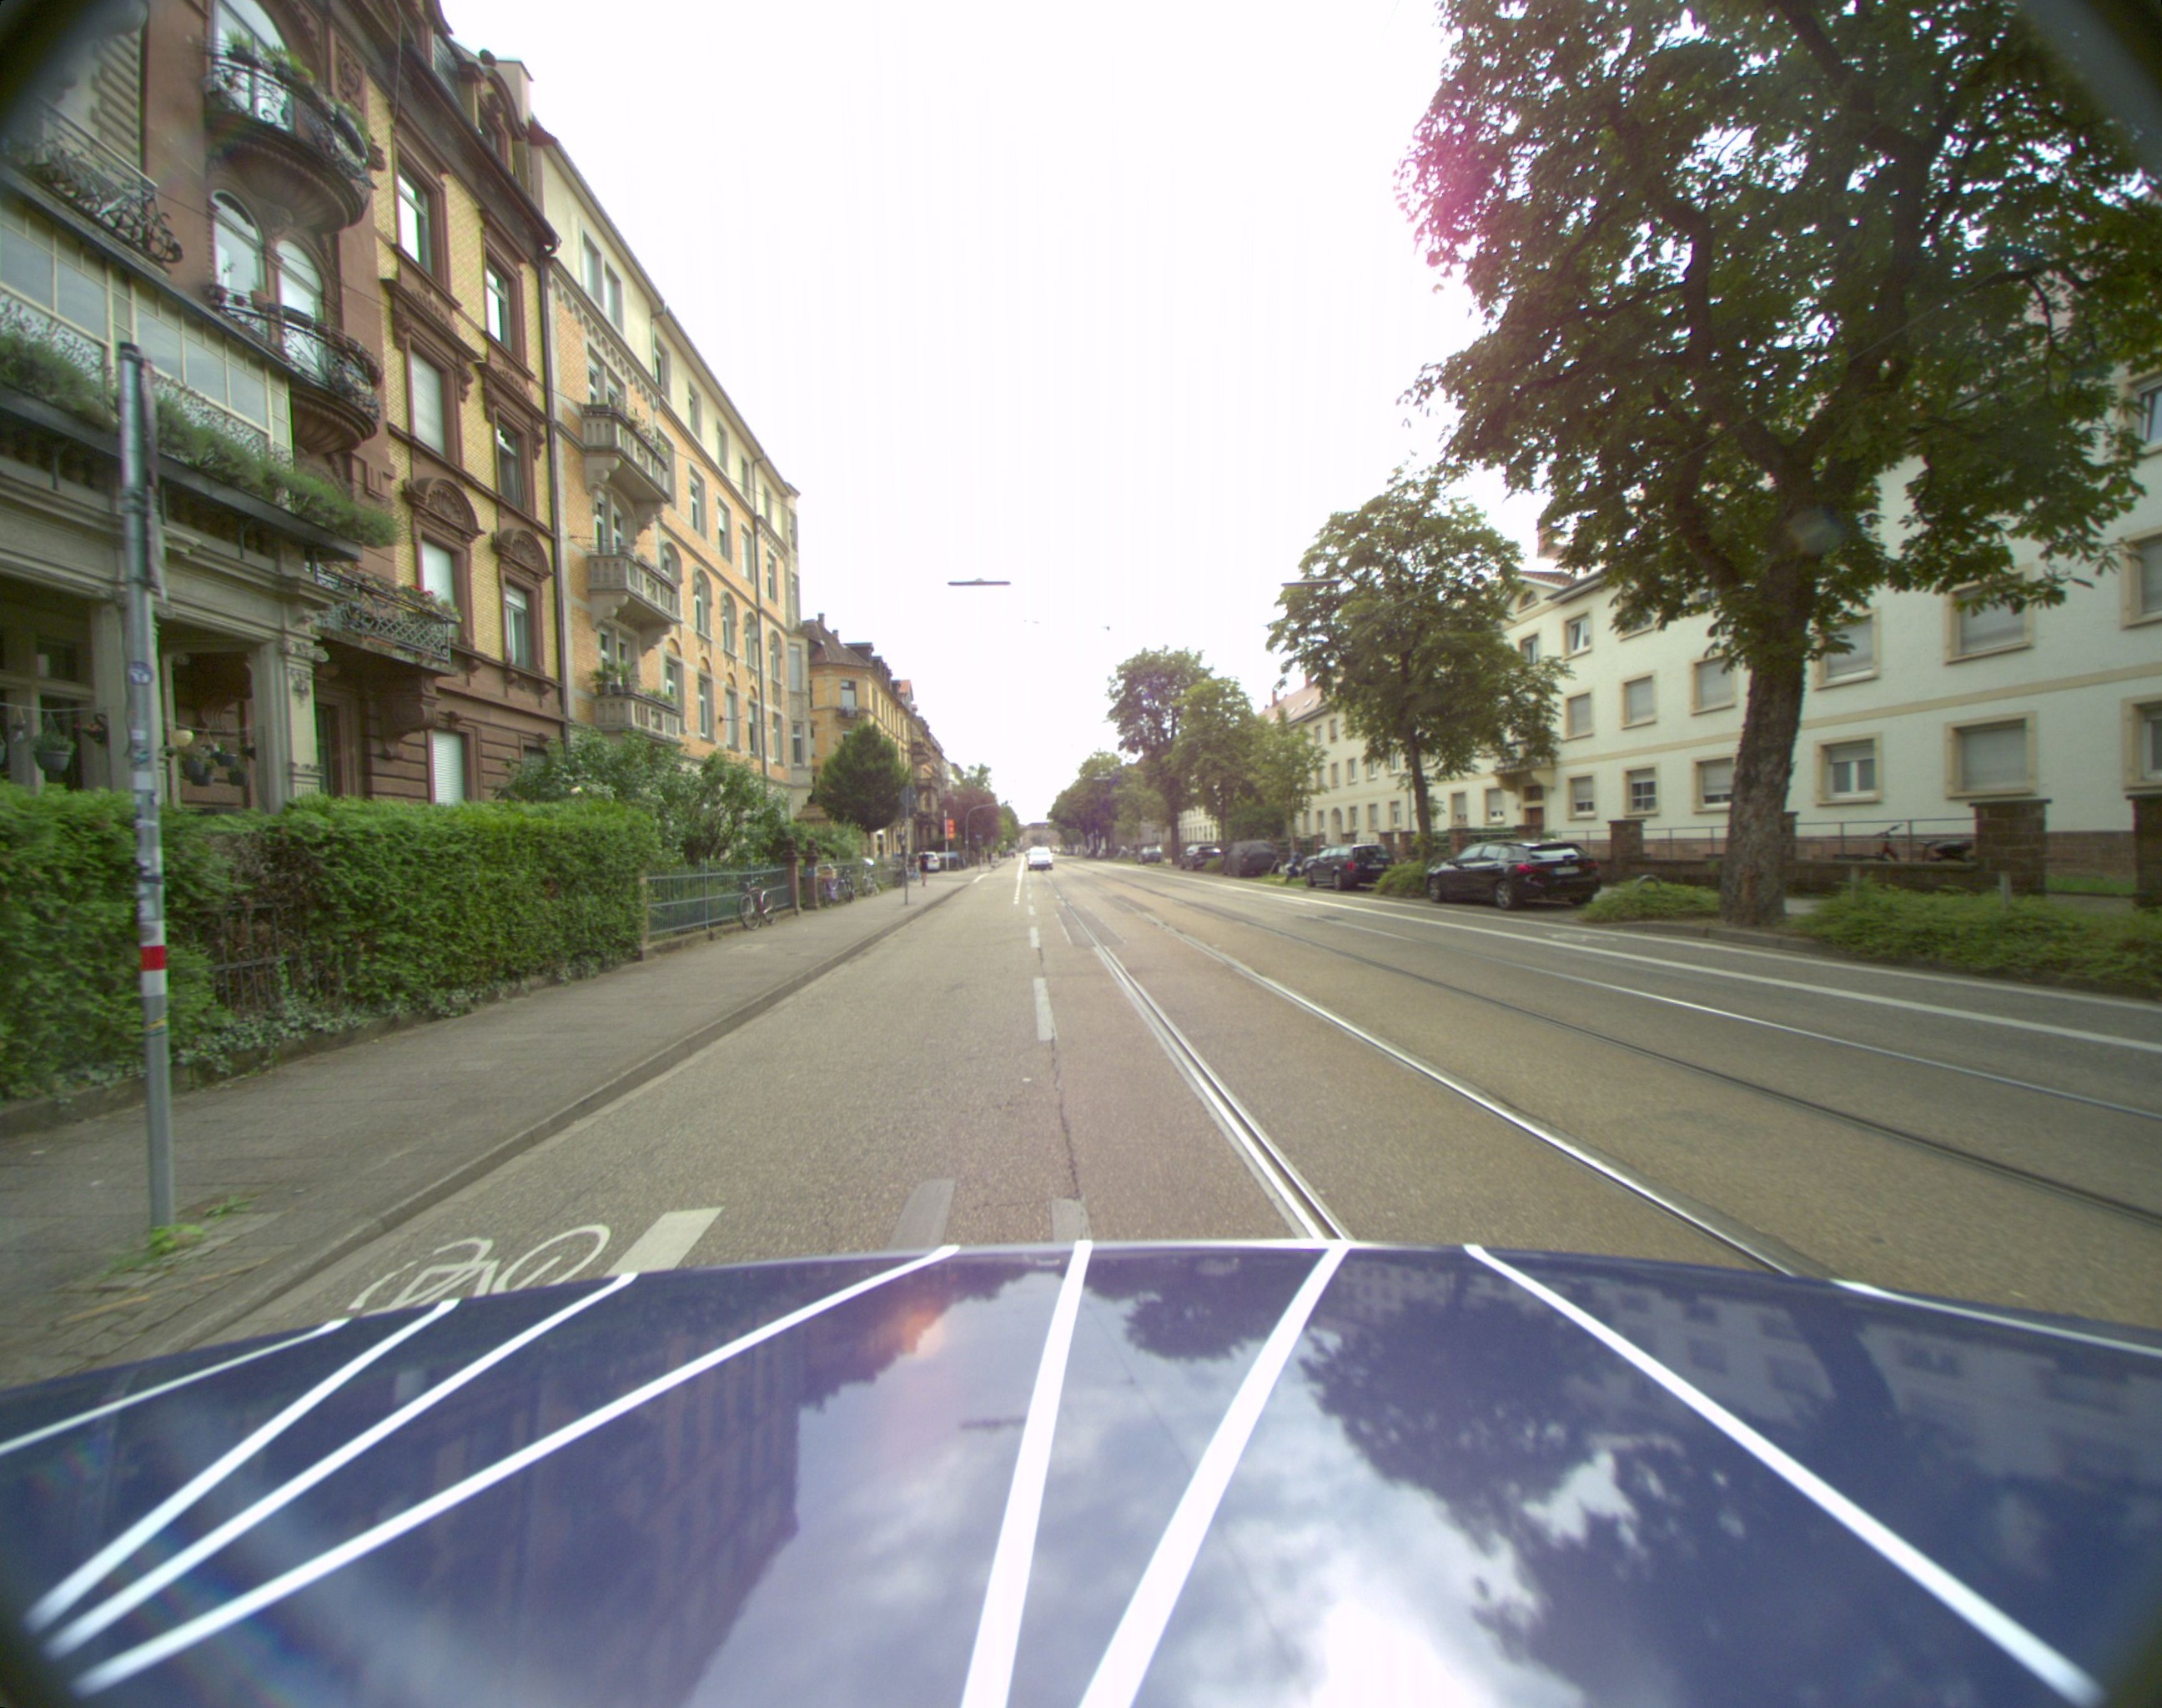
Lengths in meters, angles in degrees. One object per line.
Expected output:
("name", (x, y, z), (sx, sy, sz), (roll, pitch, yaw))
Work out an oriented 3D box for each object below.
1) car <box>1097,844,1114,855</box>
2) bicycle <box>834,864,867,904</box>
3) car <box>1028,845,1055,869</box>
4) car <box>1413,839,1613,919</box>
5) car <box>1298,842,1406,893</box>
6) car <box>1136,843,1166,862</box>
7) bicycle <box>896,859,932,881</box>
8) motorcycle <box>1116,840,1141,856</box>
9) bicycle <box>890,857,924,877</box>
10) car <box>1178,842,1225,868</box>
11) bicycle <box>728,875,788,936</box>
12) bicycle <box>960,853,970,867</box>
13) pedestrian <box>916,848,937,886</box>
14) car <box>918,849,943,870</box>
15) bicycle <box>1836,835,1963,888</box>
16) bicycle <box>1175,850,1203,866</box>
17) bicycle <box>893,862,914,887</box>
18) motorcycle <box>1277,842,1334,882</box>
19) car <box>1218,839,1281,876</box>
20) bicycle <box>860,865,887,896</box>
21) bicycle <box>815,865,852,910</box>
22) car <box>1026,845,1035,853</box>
("car", (3.293, -0.598, 102.165), (1.732, 1.462, 4.297), (-2, 1, -6))
("bicycle", (-6.930, 0.871, 22.886), (0.580, 1.105, 1.671), (2, 1, -5))
("car", (-3.017, 0.156, 57.926), (1.876, 1.670, 5.128), (-2, 1, -3))
("car", (9.294, 0.454, 16.824), (1.701, 1.415, 4.298), (-5, 1, -4))
("car", (8.719, 0.373, 24.885), (1.701, 1.415, 4.298), (-3, 1, -4))
("car", (5.890, -0.164, 64.701), (1.702, 1.462, 4.297), (-3, 1, -6))
("bicycle", (-9.170, 0.889, 41.783), (0.629, 1.106, 1.878), (-1, 1, 39))
("motorcycle", (4.999, -0.649, 80.342), (2.312, 1.382, 0.838), (-6, 2, 28))
("bicycle", (-10.305, 0.792, 44.954), (1.890, 1.121, 0.533), (-2, 1, 13))
("car", (7.164, 0.033, 45.561), (1.702, 1.462, 4.297), (-2, 1, -6))
("bicycle", (-6.586, 1.020, 15.566), (0.580, 1.106, 1.671), (-2, 1, -5))
("bicycle", (-9.955, 0.511, 65.138), (0.631, 1.106, 1.873), (-2, 1, -3))
("pedestrian", (-6.815, 0.560, 33.542), (0.732, 1.614, 0.835), (-2, 1, -4))
("car", (-11.693, 0.375, 59.197), (1.757, 1.517, 3.996), (-2, 1, -9))
("bicycle", (14.347, 0.113, 13.375), (0.510, 0.858, 1.549), (-2, 1, -3))
("bicycle", (7.151, 0.260, 50.217), (1.672, 0.965, 0.672), (-2, 1, -13))
("bicycle", (-7.551, 0.877, 32.389), (0.580, 0.977, 1.671), (2, 1, -5))
("motorcycle", (8.486, 0.299, 28.752), (1.872, 1.253, 0.591), (-8, 2, -7))
("car", (7.974, 0.124, 36.299), (1.790, 1.602, 4.298), (-2, 1, -4))
("bicycle", (-7.235, 0.920, 26.509), (0.580, 0.977, 1.671), (2, 1, -5))
("bicycle", (-6.784, 0.899, 20.919), (0.580, 1.105, 1.671), (2, 1, -5))
("car", (-12.482, -1.264, 189.012), (1.947, 1.675, 3.999), (-2, 1, 0))
